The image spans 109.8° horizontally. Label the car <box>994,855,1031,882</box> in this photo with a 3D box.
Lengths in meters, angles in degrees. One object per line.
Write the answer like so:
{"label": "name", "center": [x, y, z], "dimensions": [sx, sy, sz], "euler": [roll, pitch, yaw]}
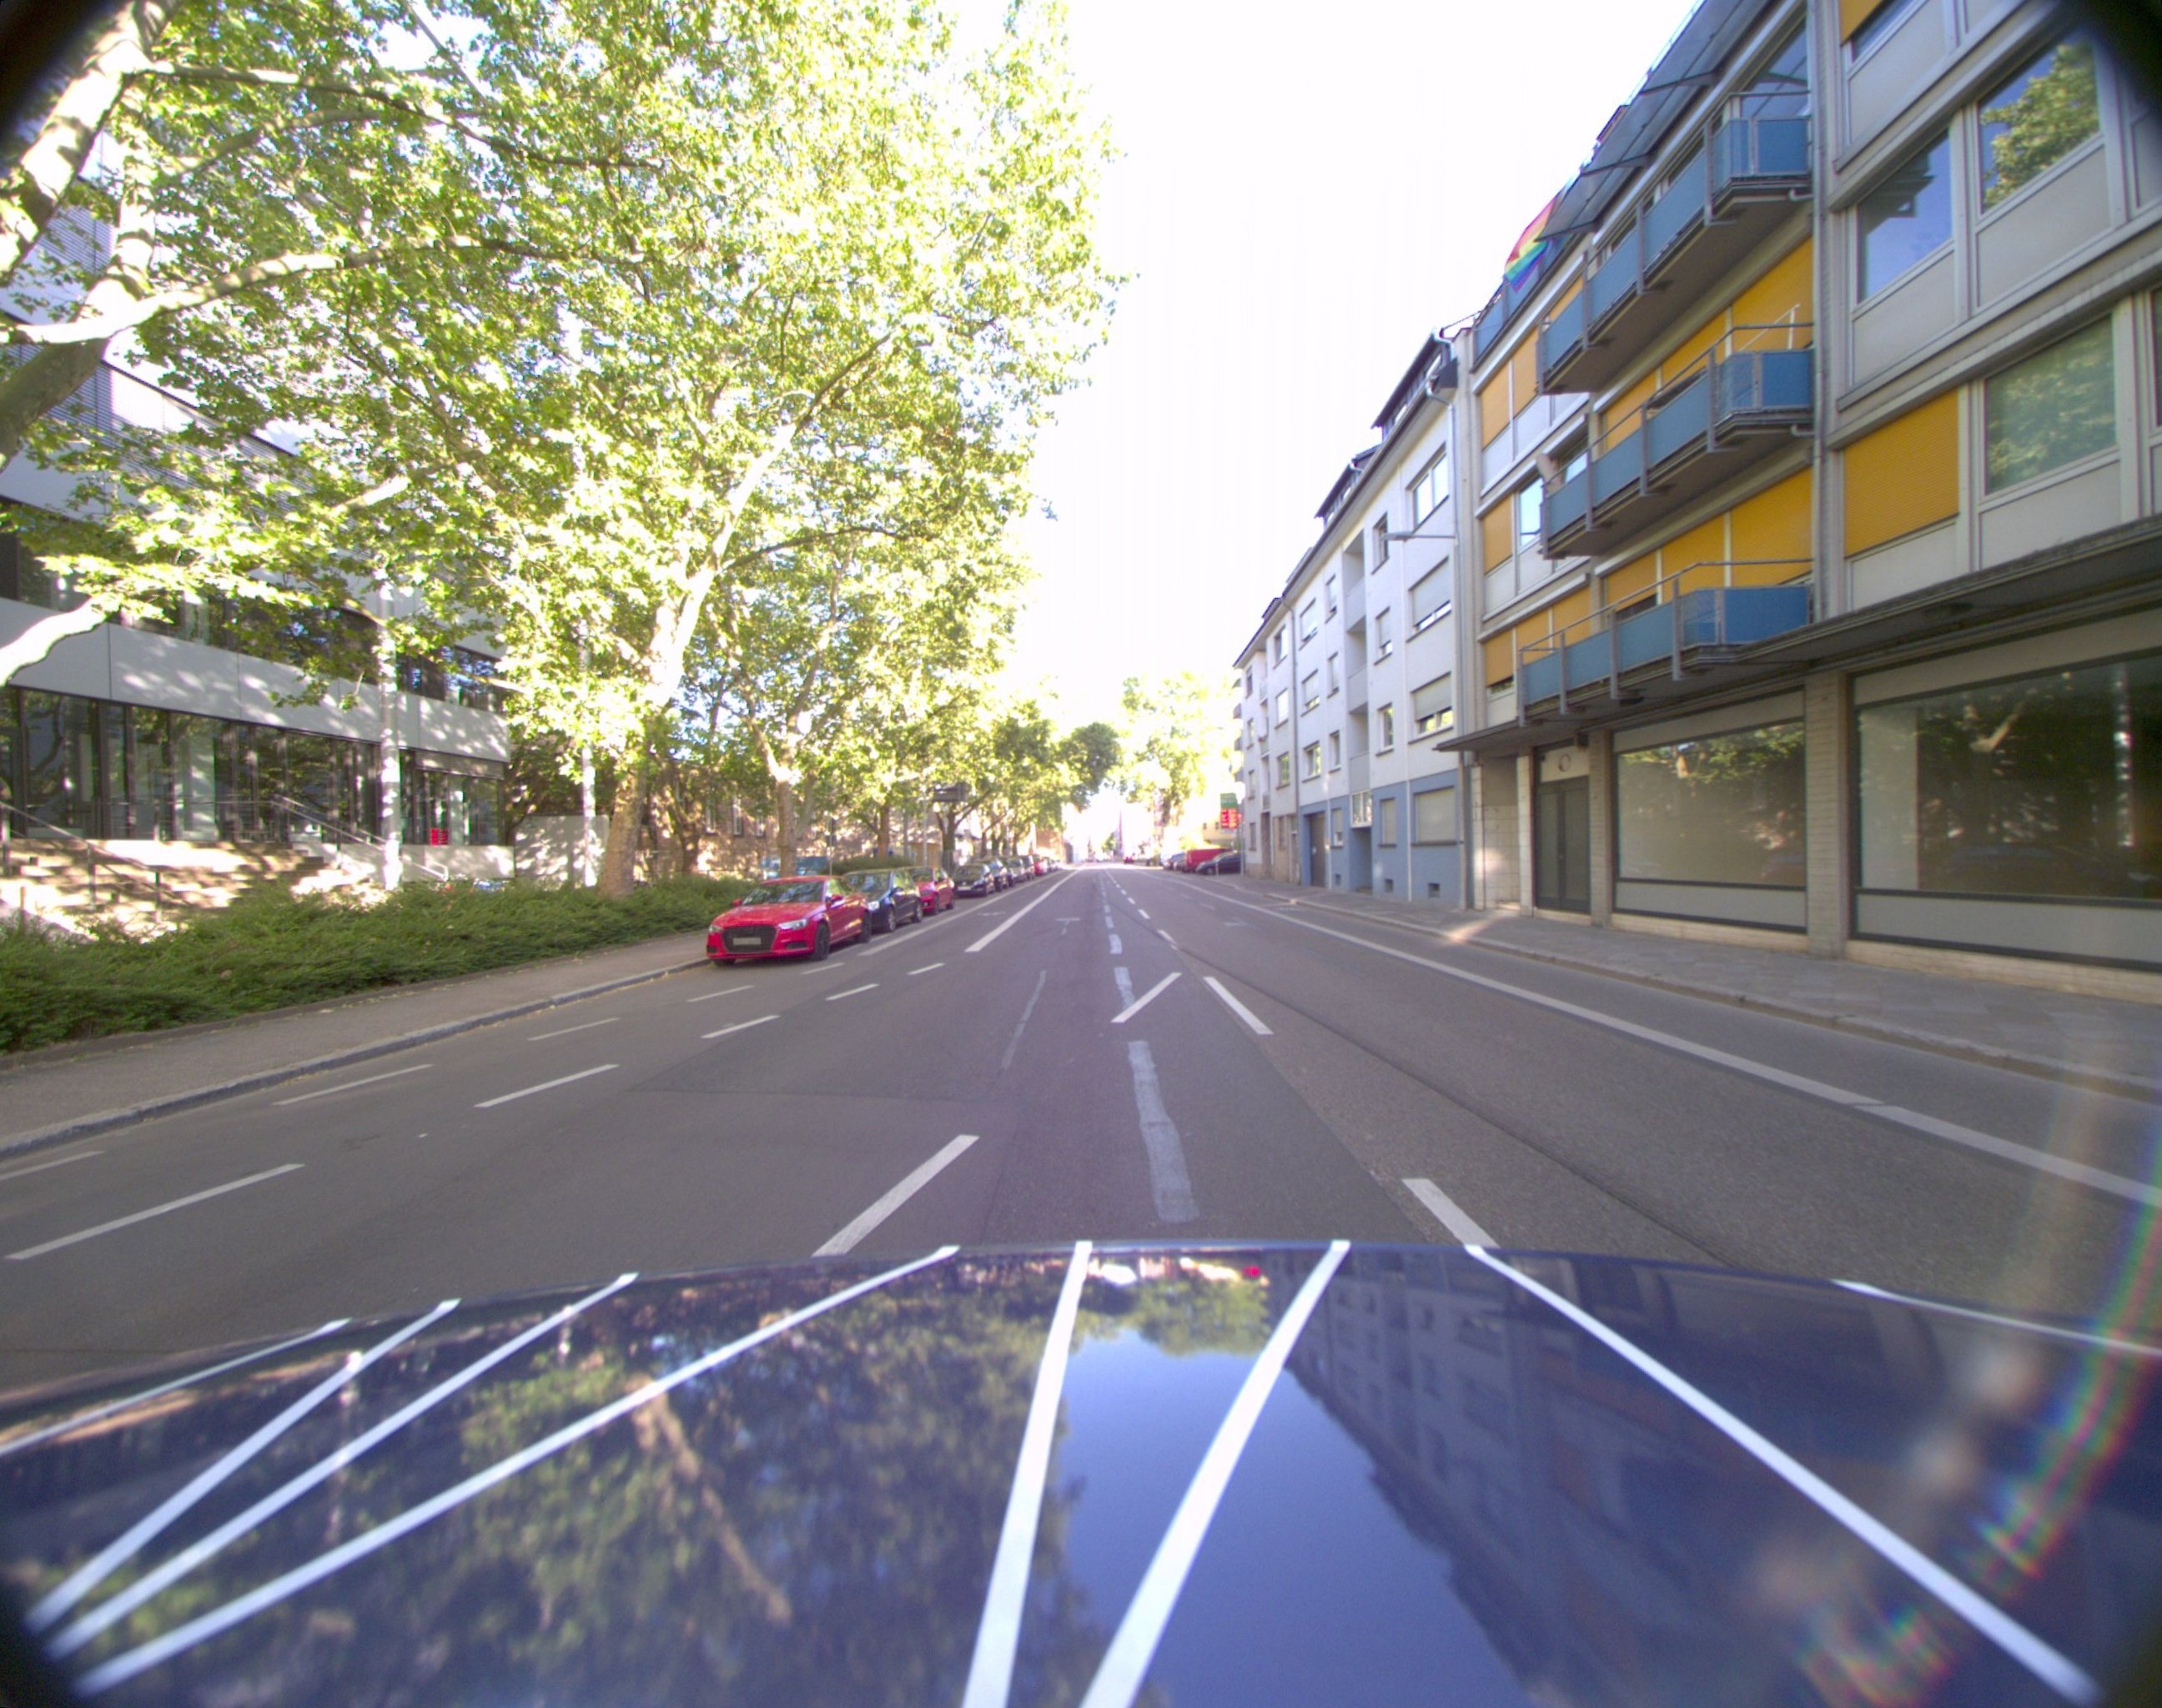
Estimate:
{"label": "car", "center": [-4.541, 0.934, 50.906], "dimensions": [1.998, 1.557, 4.142], "euler": [-2, 1, 1]}

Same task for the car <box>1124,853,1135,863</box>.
{"label": "car", "center": [8.964, 0.747, 140.013], "dimensions": [1.847, 1.668, 4.000], "euler": [-2, 1, 3]}

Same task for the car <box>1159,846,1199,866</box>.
{"label": "car", "center": [10.952, 0.211, 85.312], "dimensions": [4.236, 2.025, 2.000], "euler": [-2, 1, 3]}

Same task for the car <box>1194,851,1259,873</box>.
{"label": "car", "center": [10.458, 0.567, 54.782], "dimensions": [4.324, 1.398, 1.658], "euler": [-2, 1, 0]}

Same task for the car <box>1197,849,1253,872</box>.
{"label": "car", "center": [10.804, 0.445, 57.114], "dimensions": [3.810, 1.563, 1.658], "euler": [-2, 1, 0]}

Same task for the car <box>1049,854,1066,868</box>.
{"label": "car", "center": [-3.181, 0.903, 103.008], "dimensions": [1.998, 1.682, 3.999], "euler": [-2, 1, 1]}

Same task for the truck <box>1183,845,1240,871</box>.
{"label": "truck", "center": [10.289, 0.315, 60.212], "dimensions": [4.092, 1.913, 2.000], "euler": [-2, 1, 0]}

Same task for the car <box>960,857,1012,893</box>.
{"label": "car", "center": [-4.682, 1.003, 38.123], "dimensions": [1.998, 1.592, 4.142], "euler": [-2, 1, 1]}

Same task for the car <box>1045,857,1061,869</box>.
{"label": "car", "center": [-3.343, 1.067, 92.737], "dimensions": [1.693, 1.364, 3.999], "euler": [-2, 1, 1]}

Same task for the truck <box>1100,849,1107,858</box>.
{"label": "truck", "center": [6.883, -0.305, 233.822], "dimensions": [1.998, 2.653, 5.314], "euler": [-2, 1, 0]}

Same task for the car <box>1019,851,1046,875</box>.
{"label": "car", "center": [-4.220, 0.757, 66.374], "dimensions": [1.998, 1.960, 3.999], "euler": [-2, 1, 1]}

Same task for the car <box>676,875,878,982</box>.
{"label": "car", "center": [-5.186, 1.195, 13.637], "dimensions": [1.907, 1.417, 3.999], "euler": [-2, 1, 1]}

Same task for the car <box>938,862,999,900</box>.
{"label": "car", "center": [-4.836, 1.127, 33.178], "dimensions": [1.998, 1.447, 3.589], "euler": [-2, 1, 1]}

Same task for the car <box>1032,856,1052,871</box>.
{"label": "car", "center": [-4.134, 0.984, 80.748], "dimensions": [1.824, 1.466, 3.999], "euler": [-2, 1, 1]}

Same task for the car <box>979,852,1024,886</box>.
{"label": "car", "center": [-4.605, 0.836, 44.516], "dimensions": [1.998, 1.777, 4.572], "euler": [-2, 1, 1]}

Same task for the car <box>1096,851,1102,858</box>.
{"label": "car", "center": [6.172, 0.181, 259.454], "dimensions": [1.998, 2.002, 3.999], "euler": [-2, 1, 1]}

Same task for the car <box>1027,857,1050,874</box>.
{"label": "car", "center": [-4.034, 1.079, 71.996], "dimensions": [1.824, 1.466, 3.999], "euler": [-2, 1, 1]}

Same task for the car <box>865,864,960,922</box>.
{"label": "car", "center": [-5.127, 1.147, 23.672], "dimensions": [1.998, 1.490, 3.828], "euler": [-2, 1, 1]}

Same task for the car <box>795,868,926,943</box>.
{"label": "car", "center": [-5.170, 1.166, 18.361], "dimensions": [1.998, 1.452, 3.644], "euler": [-2, 1, 1]}

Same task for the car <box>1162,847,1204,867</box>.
{"label": "car", "center": [10.866, 0.278, 80.912], "dimensions": [4.236, 1.945, 2.000], "euler": [-2, 1, 3]}

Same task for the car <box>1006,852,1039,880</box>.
{"label": "car", "center": [-4.242, 0.841, 55.602], "dimensions": [1.998, 1.838, 3.999], "euler": [-2, 1, 1]}
